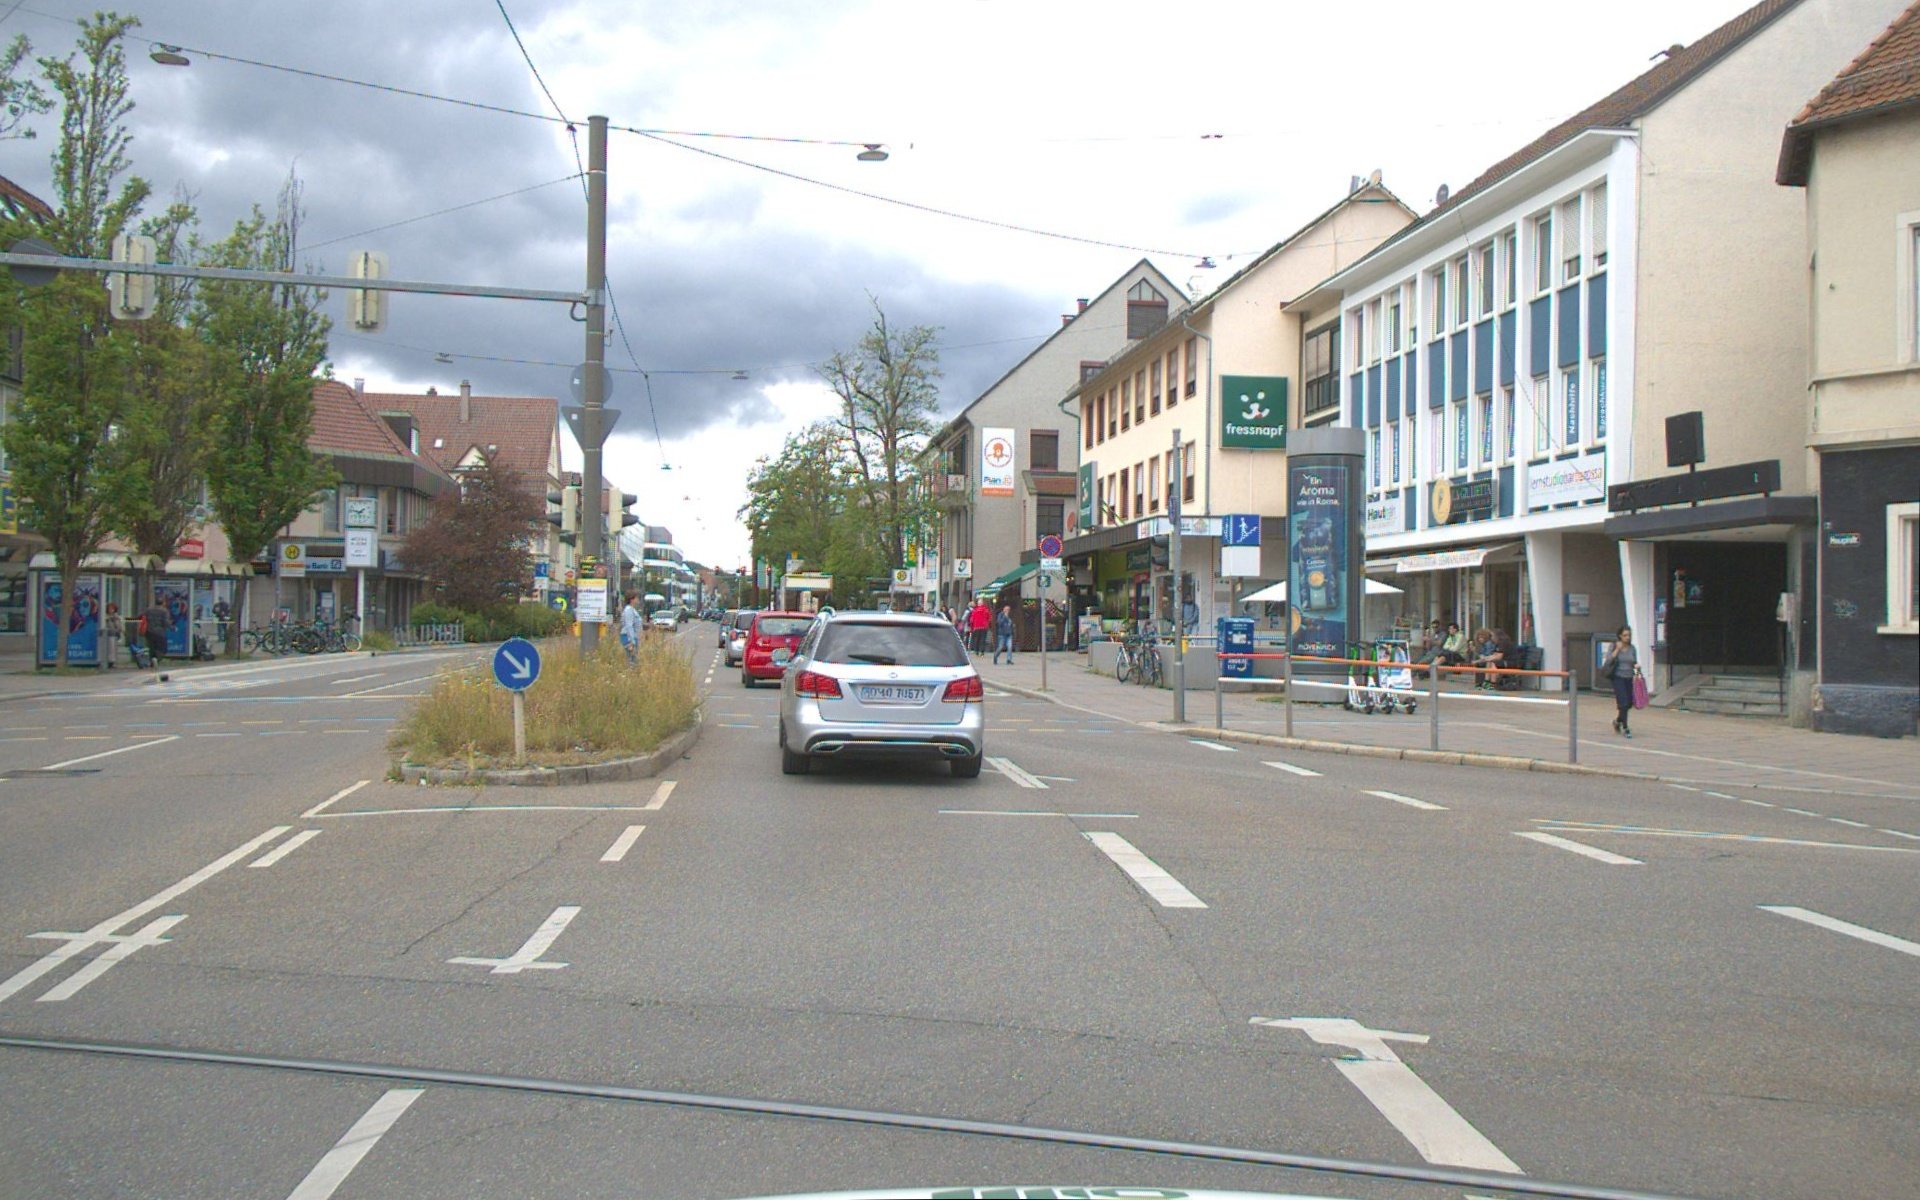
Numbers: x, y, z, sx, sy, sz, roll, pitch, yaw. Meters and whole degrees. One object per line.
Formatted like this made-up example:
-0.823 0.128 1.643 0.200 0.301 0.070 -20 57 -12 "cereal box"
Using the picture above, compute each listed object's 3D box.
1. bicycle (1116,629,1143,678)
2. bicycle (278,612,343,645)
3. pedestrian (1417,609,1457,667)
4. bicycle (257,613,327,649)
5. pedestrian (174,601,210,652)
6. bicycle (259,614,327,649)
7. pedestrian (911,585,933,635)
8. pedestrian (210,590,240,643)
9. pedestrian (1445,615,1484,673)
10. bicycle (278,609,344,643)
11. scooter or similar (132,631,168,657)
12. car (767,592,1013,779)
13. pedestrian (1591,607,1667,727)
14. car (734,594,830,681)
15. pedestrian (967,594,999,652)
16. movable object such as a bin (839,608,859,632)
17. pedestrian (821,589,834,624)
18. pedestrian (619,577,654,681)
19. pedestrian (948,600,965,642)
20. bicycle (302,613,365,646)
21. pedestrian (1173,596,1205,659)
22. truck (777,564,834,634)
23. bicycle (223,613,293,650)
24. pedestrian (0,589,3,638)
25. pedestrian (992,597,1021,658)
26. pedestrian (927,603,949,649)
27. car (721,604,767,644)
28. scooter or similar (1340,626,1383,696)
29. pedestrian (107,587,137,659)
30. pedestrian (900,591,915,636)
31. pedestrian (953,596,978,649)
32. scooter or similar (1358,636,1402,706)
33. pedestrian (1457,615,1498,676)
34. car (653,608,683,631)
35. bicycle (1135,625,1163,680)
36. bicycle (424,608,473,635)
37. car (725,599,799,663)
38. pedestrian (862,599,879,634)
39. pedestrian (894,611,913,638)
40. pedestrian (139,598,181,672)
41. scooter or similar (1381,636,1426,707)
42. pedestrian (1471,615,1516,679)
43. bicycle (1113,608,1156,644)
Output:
3.613 1.127 35.344 0.268 0.991 1.385 1 0 -7 "bicycle"
-22.032 0.964 56.122 1.986 1.109 0.646 1 -1 -18 "bicycle"
10.700 0.843 37.118 0.602 1.241 0.586 4 -1 -11 "pedestrian"
-21.478 0.994 53.221 1.983 1.109 0.647 1 -1 -13 "bicycle"
-21.376 0.744 46.032 0.698 1.388 0.587 2 0 -6 "pedestrian"
-21.858 1.024 54.227 1.986 1.109 0.646 1 -1 -18 "bicycle"
-1.330 0.355 57.578 0.600 1.707 0.614 4 -1 -6 "pedestrian"
-25.845 0.568 58.176 0.712 1.794 0.753 4 -1 -10 "pedestrian"
11.113 0.965 36.470 0.602 1.241 0.586 1 0 -11 "pedestrian"
-21.759 0.882 55.463 1.986 1.109 0.646 1 -1 -18 "bicycle"
-19.677 1.058 40.184 0.581 0.612 0.701 1 0 -9 "scooter or similar"
-0.802 0.739 15.832 1.840 1.532 3.991 2 -1 -10 "car"
9.584 0.951 23.698 0.582 1.650 0.734 4 -1 -40 "pedestrian"
-3.594 0.727 32.981 1.721 1.547 3.993 3 -1 -8 "car"
0.721 0.719 51.488 0.781 1.772 0.779 -1 -2 -14 "pedestrian"
-6.541 1.183 97.817 1.121 1.363 1.374 1 0 -6 "movable object such as a bin"
-6.884 0.359 85.749 0.602 1.811 0.586 1 -2 -12 "pedestrian"
-5.228 0.461 26.730 0.494 1.663 0.661 1 0 -14 "pedestrian"
-0.135 0.847 66.912 0.575 1.663 0.614 1 0 -7 "pedestrian"
-21.612 1.005 57.083 1.986 1.109 0.646 1 -1 -18 "bicycle"
6.124 0.720 44.206 0.653 1.663 0.799 1 0 -7 "pedestrian"
-8.598 -0.046 91.184 2.638 3.623 9.748 1 0 -8 "truck"
-22.124 0.992 52.186 1.990 1.109 0.644 2 -1 -23 "bicycle"
-23.503 0.585 39.778 0.575 1.742 0.613 4 -1 -10 "pedestrian"
1.278 0.752 45.630 0.674 1.663 0.852 1 0 -5 "pedestrian"
-0.780 0.930 59.480 0.706 1.663 0.613 0 -1 -11 "pedestrian"
-9.662 1.077 74.110 1.956 1.713 3.993 1 0 -8 "car"
6.820 1.022 28.114 0.308 1.152 1.206 1 0 -7 "scooter or similar"
-20.159 0.548 39.781 0.579 1.681 0.708 2 0 -26 "pedestrian"
-2.449 0.647 77.228 0.600 2.083 0.588 -1 -1 5 "pedestrian"
0.183 0.755 55.471 0.670 1.772 0.779 -1 -2 -13 "pedestrian"
7.150 1.198 28.193 0.308 1.152 1.206 1 0 -7 "scooter or similar"
10.702 0.941 34.226 0.602 1.241 0.586 0 0 -11 "pedestrian"
-20.546 1.387 116.428 1.839 1.532 4.336 0 -1 -8 "car"
3.865 1.065 33.876 0.268 1.071 1.385 1 0 -7 "bicycle"
-21.828 0.908 70.642 1.986 1.109 0.646 1 -1 -18 "bicycle"
-5.645 0.864 47.013 1.956 1.713 3.993 1 0 -8 "car"
-4.338 0.808 80.438 0.529 1.663 0.581 4 -1 -32 "pedestrian"
-2.550 1.097 74.494 0.700 1.186 0.586 2 0 -15 "pedestrian"
-18.575 0.797 38.421 0.574 1.681 0.714 2 0 2 "pedestrian"
7.556 1.210 28.210 0.308 1.152 1.206 1 0 -7 "scooter or similar"
10.832 0.951 33.610 0.602 1.241 0.586 4 -1 -11 "pedestrian"
5.399 0.806 51.314 0.727 1.081 2.346 0 0 -10 "bicycle"
